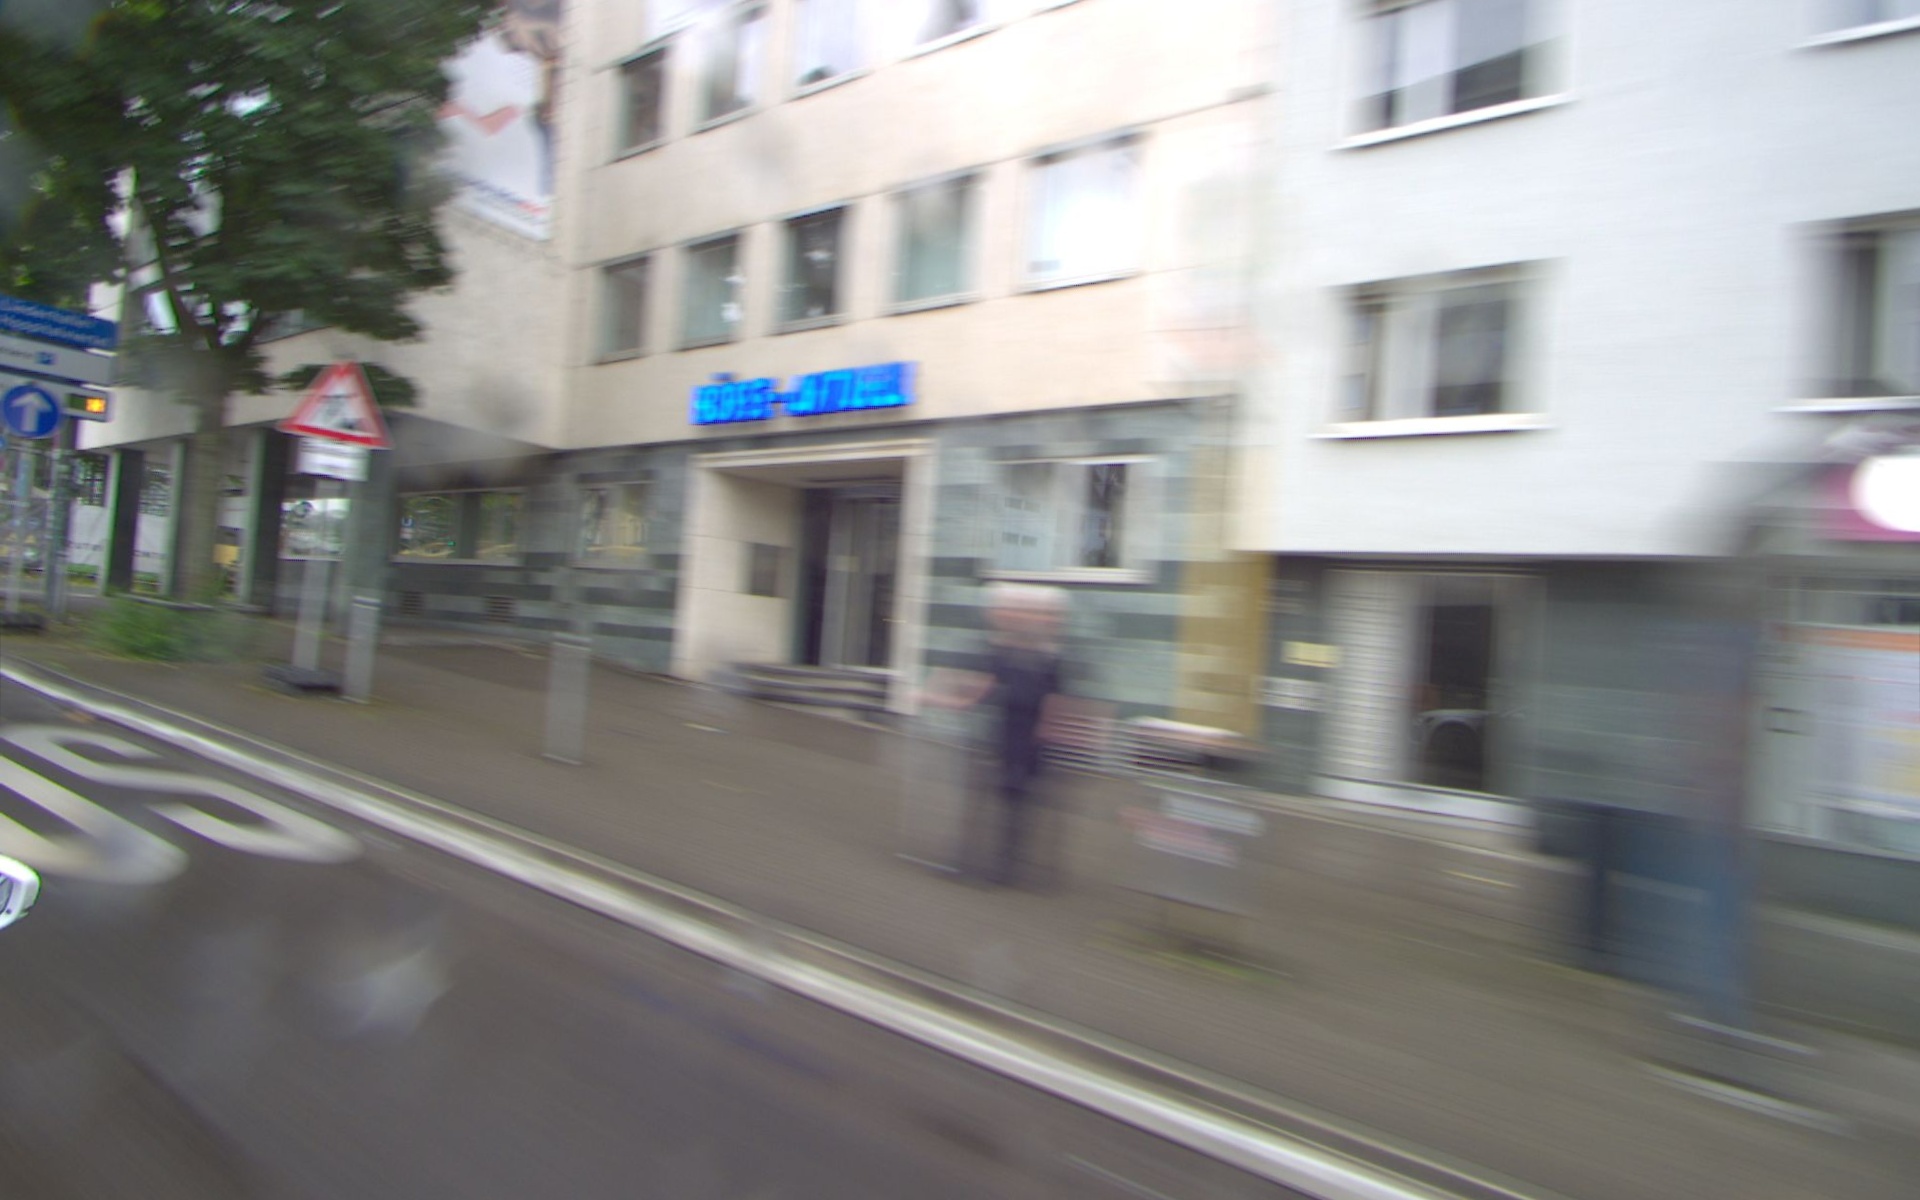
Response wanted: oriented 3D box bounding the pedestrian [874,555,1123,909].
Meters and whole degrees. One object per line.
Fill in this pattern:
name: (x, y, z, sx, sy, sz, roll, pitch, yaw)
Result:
pedestrian: (0.208, 0.650, 5.355, 0.951, 1.646, 0.666, 6, 0, 31)
